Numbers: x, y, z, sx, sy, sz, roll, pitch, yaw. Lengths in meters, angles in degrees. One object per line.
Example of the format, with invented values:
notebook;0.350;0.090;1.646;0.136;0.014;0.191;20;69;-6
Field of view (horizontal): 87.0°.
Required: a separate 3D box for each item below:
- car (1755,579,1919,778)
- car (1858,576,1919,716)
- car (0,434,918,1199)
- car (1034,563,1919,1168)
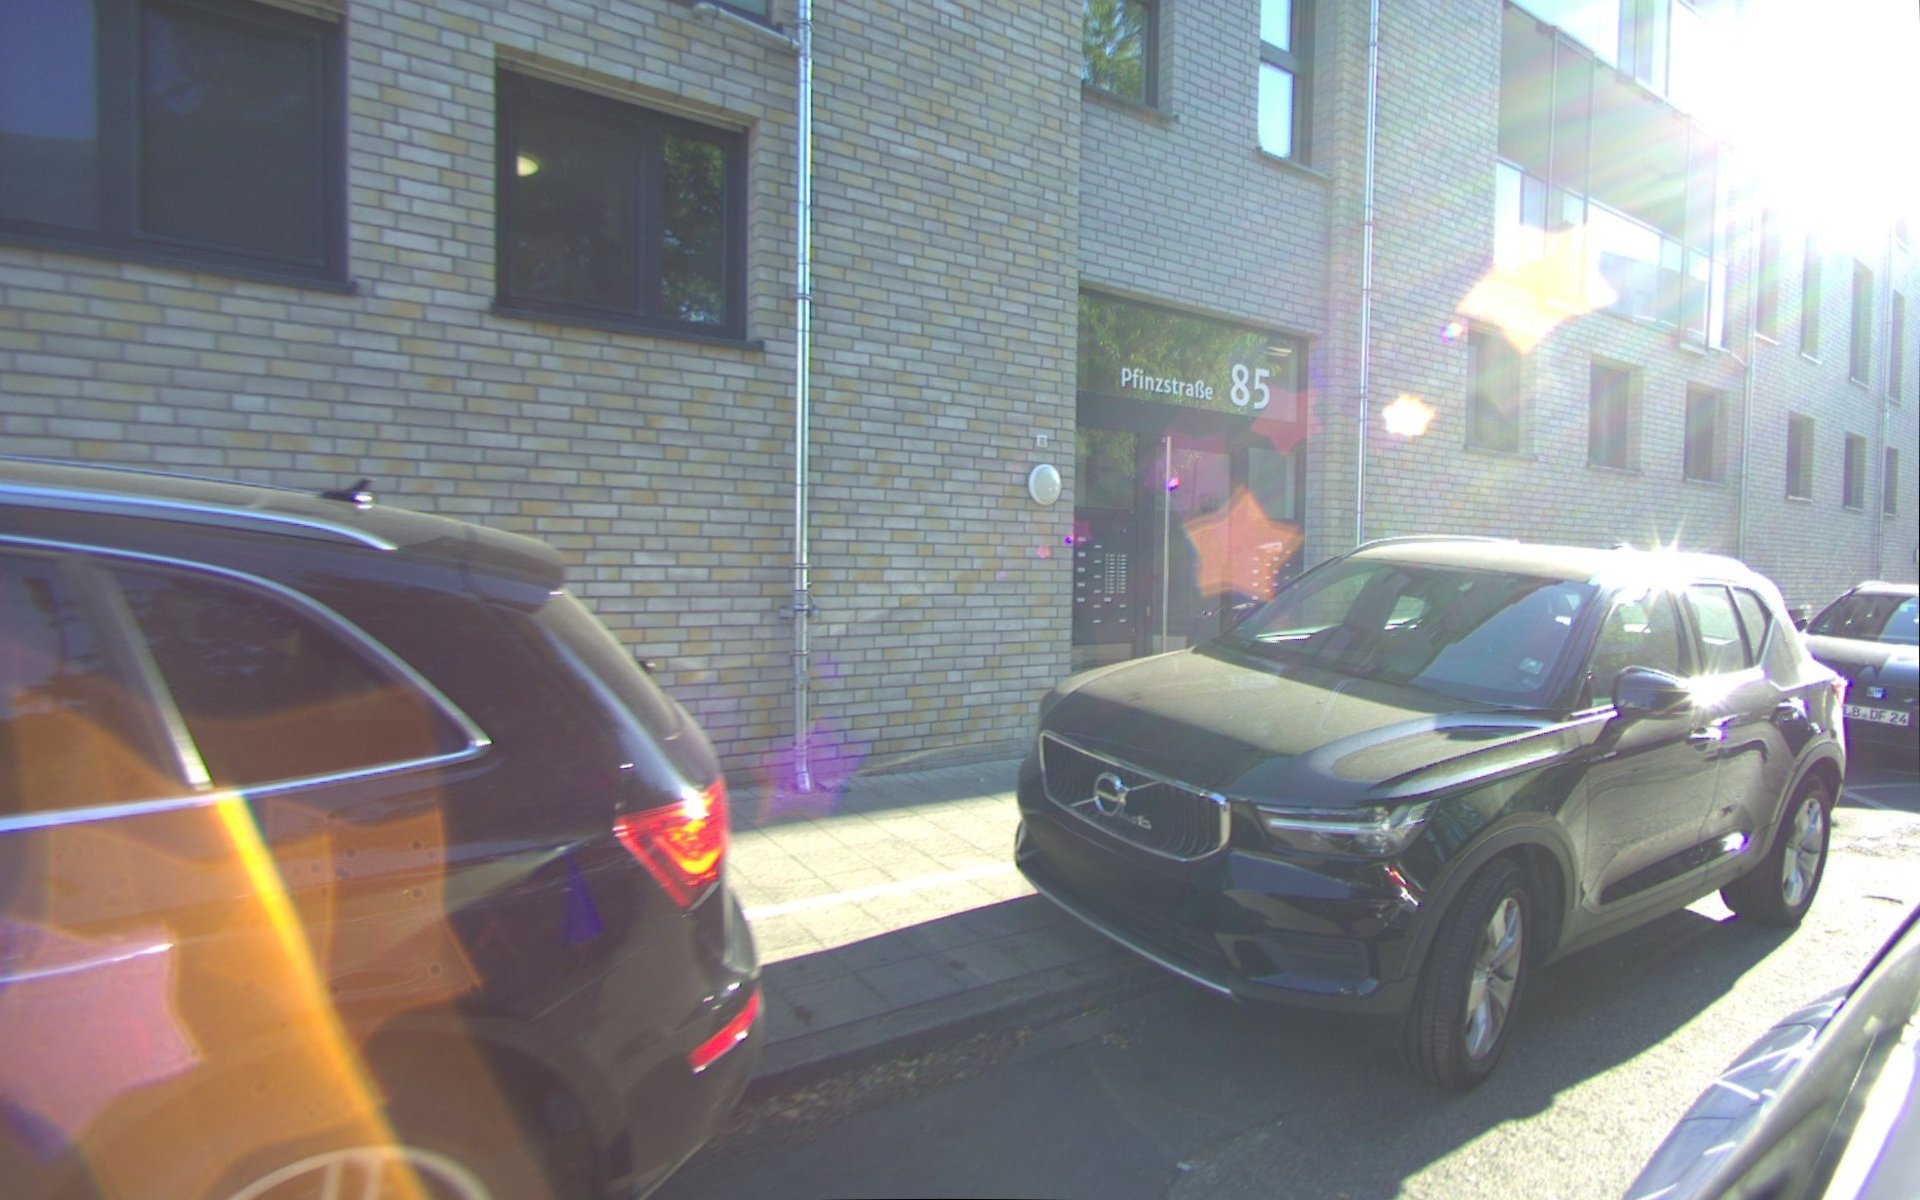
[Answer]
car;9.134;0.597;9.379;4.635;1.485;1.701;-1;4;-39
car;12.606;0.534;12.351;4.142;1.534;1.669;-1;4;-38
car;-2.593;0.607;1.585;4.678;1.733;1.898;1;2;-30
car;2.526;0.623;4.497;4.190;1.484;1.822;0;3;-36
